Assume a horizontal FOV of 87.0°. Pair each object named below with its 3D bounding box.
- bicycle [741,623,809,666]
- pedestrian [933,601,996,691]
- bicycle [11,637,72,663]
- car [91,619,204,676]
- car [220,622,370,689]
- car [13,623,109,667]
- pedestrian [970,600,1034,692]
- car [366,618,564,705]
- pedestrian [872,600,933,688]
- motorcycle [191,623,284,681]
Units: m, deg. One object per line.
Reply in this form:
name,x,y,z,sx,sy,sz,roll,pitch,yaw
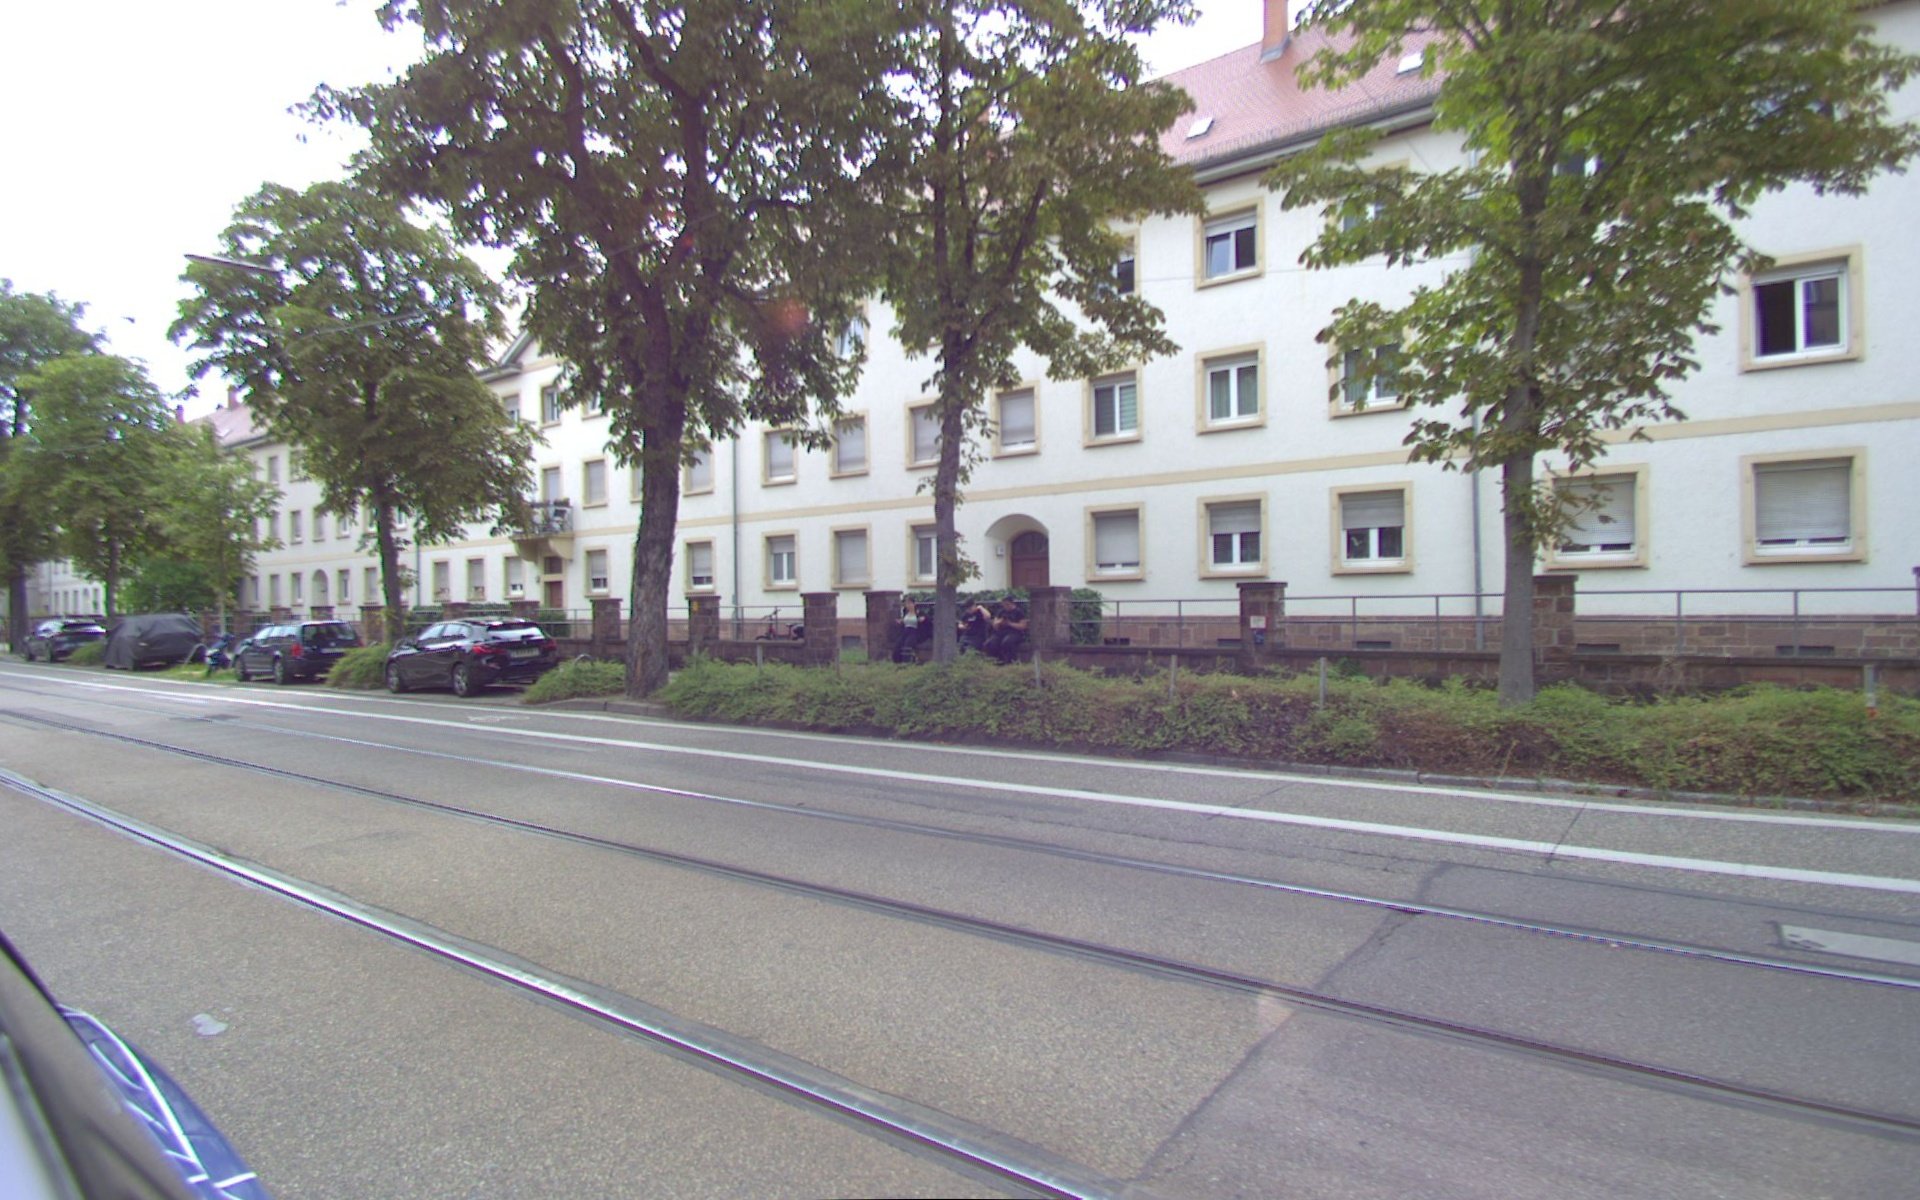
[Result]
bicycle,-3.925,0.933,21.467,1.547,0.869,0.504,-2,-1,37
pedestrian,0.087,0.767,17.233,0.730,1.476,0.826,-2,-1,32
bicycle,-36.364,1.967,40.088,0.670,0.978,1.656,-2,-1,28
car,-25.376,1.454,31.560,4.292,1.624,1.769,-2,-1,37
car,-16.240,1.313,24.652,4.292,1.434,1.681,-2,0,37
car,-32.905,1.616,37.021,4.289,1.481,1.682,-2,-1,35
pedestrian,0.708,0.748,16.838,0.730,1.476,0.826,-2,-1,32
car,-9.780,1.146,19.876,4.292,1.434,1.681,-2,2,37
pedestrian,-1.015,0.770,18.033,0.730,1.524,0.826,-2,-1,32
motorcycle,-19.291,1.369,27.068,0.590,1.269,1.852,-2,4,33
